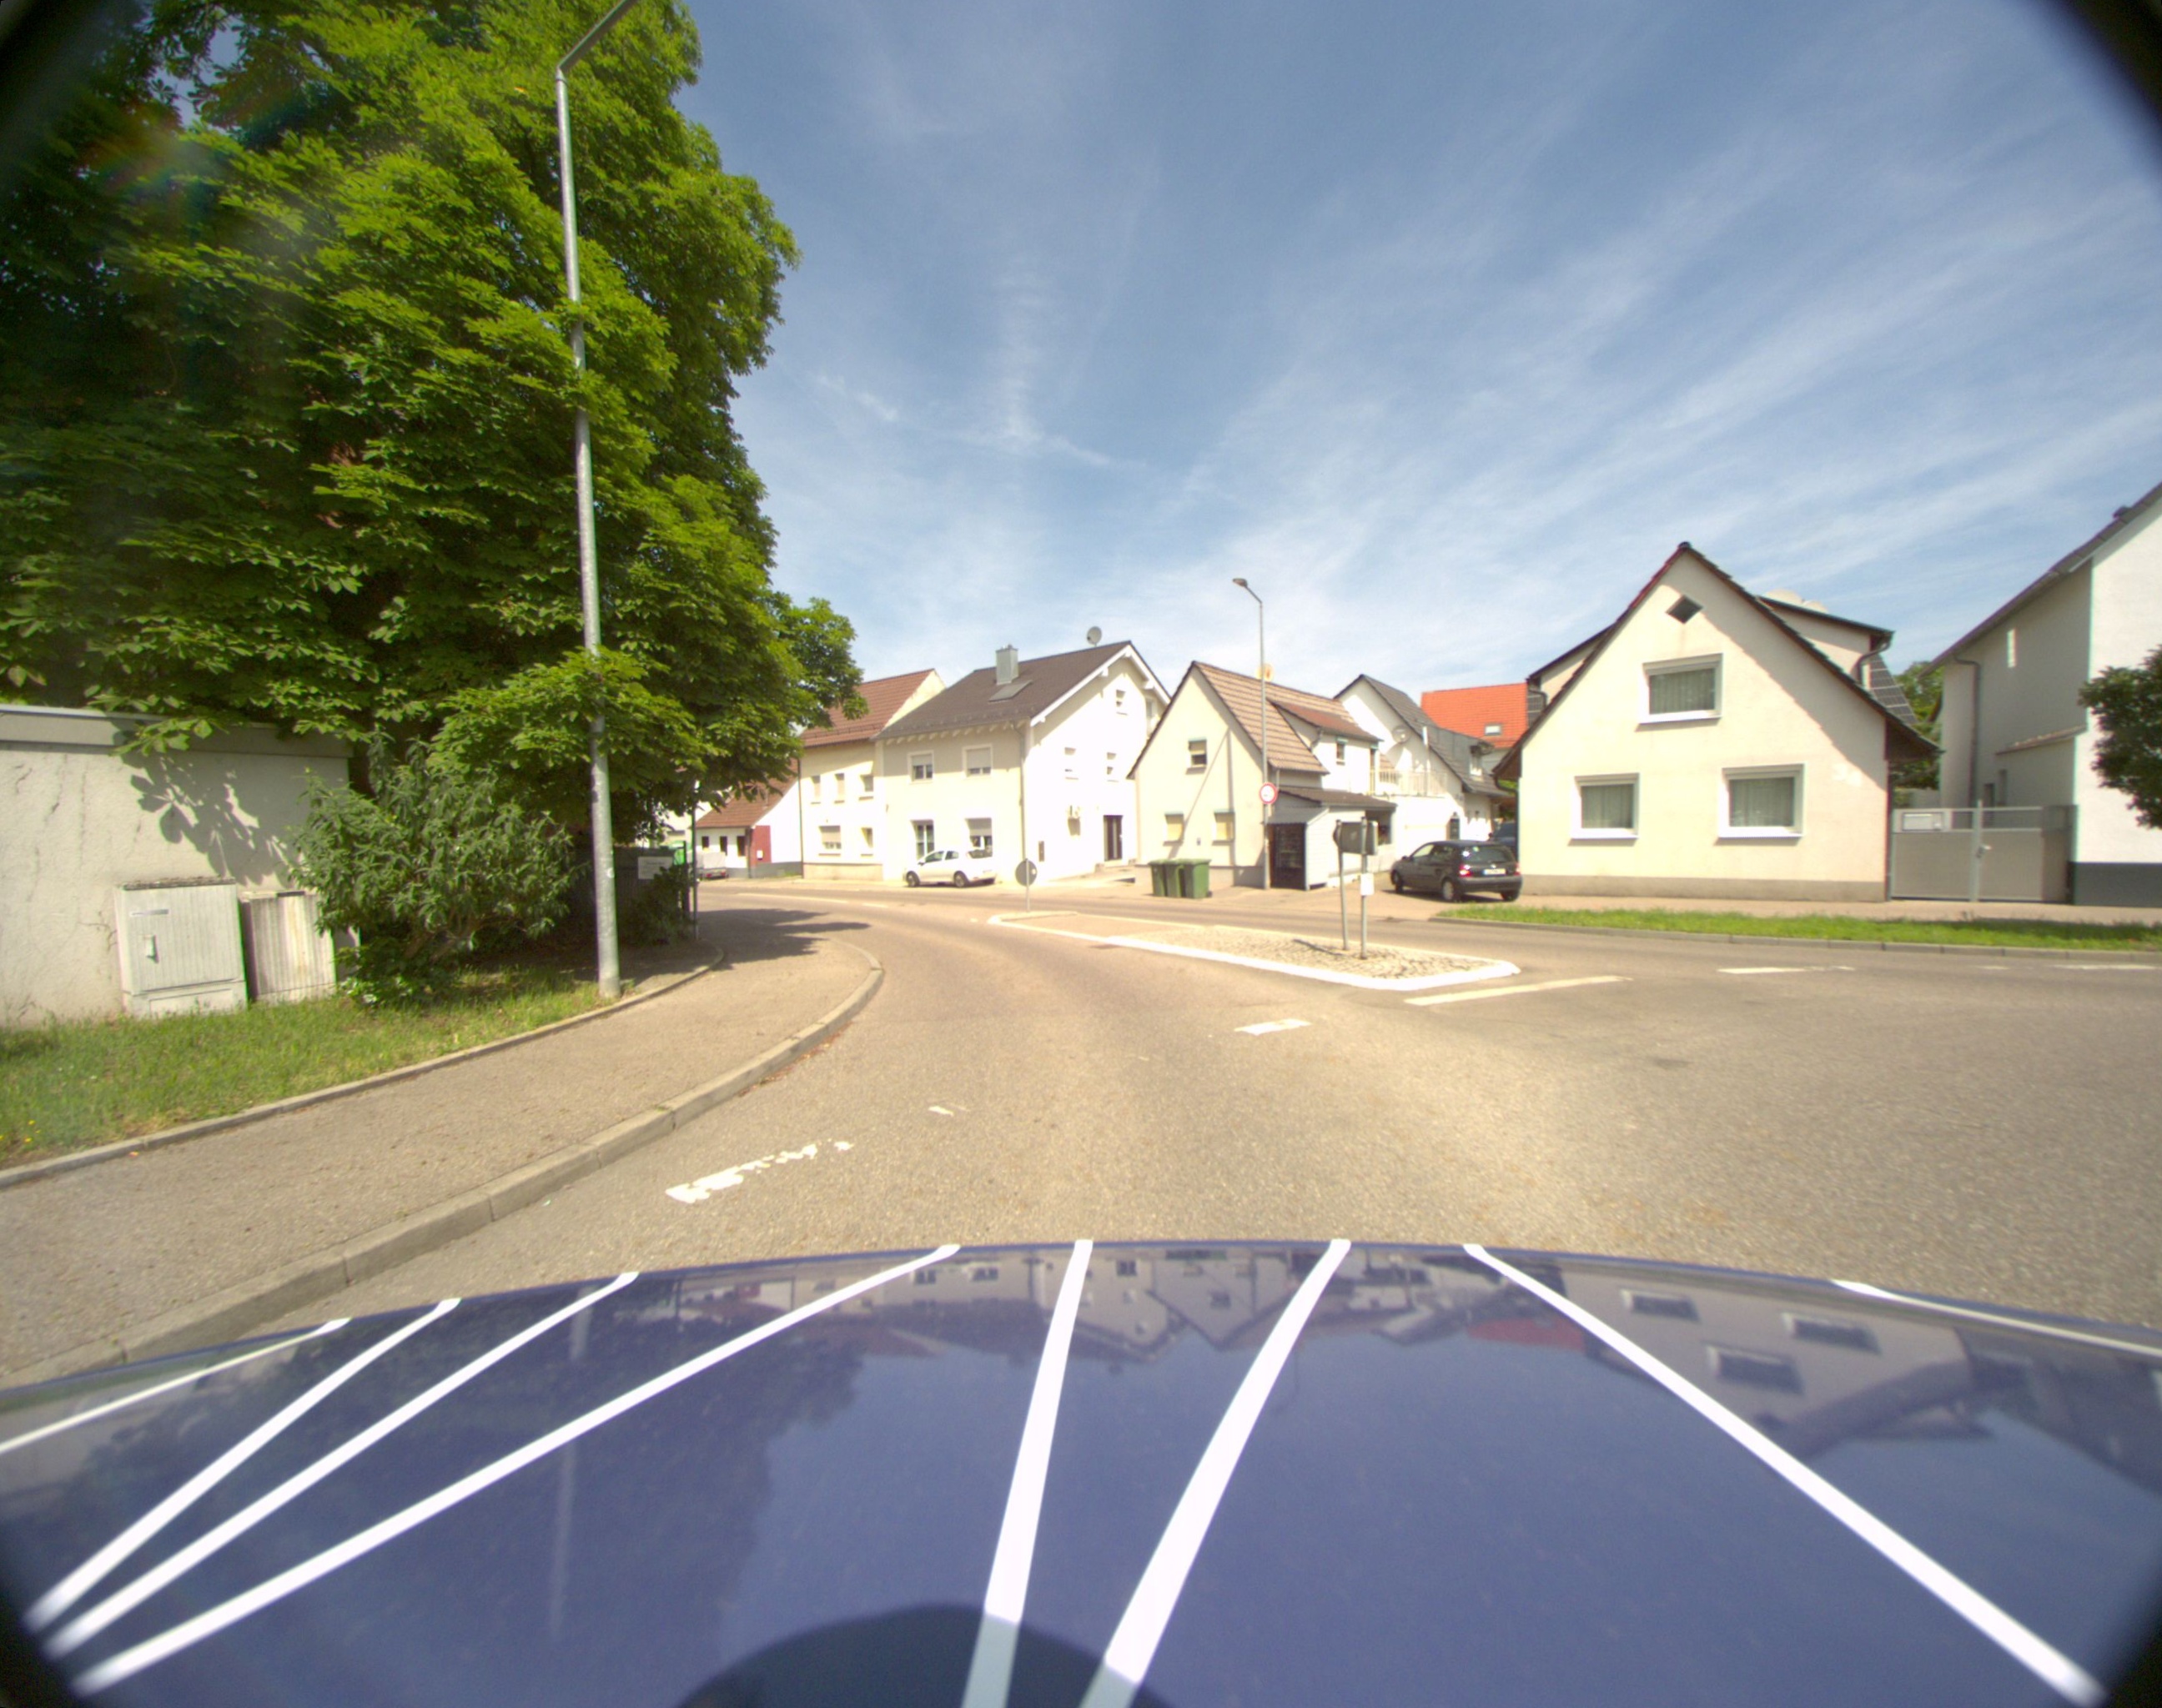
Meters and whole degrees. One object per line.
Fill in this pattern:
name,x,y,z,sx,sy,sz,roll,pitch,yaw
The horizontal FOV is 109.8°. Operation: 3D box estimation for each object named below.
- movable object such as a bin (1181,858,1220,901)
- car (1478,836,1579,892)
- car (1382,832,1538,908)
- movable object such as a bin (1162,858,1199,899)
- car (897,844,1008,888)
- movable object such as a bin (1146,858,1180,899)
movable object such as a bin,3.230,0.679,20.517,0.684,1.071,0.723,-6,4,-40
car,14.598,0.261,24.679,1.994,1.635,3.879,0,2,44
car,9.071,0.303,18.563,1.777,1.434,3.843,-3,4,-2
movable object such as a bin,2.755,0.670,21.062,0.734,1.071,0.631,-6,4,-40
car,-4.951,0.454,29.161,3.989,1.494,1.829,-1,4,35
movable object such as a bin,2.324,0.684,21.555,0.644,1.087,0.630,-6,4,-40
